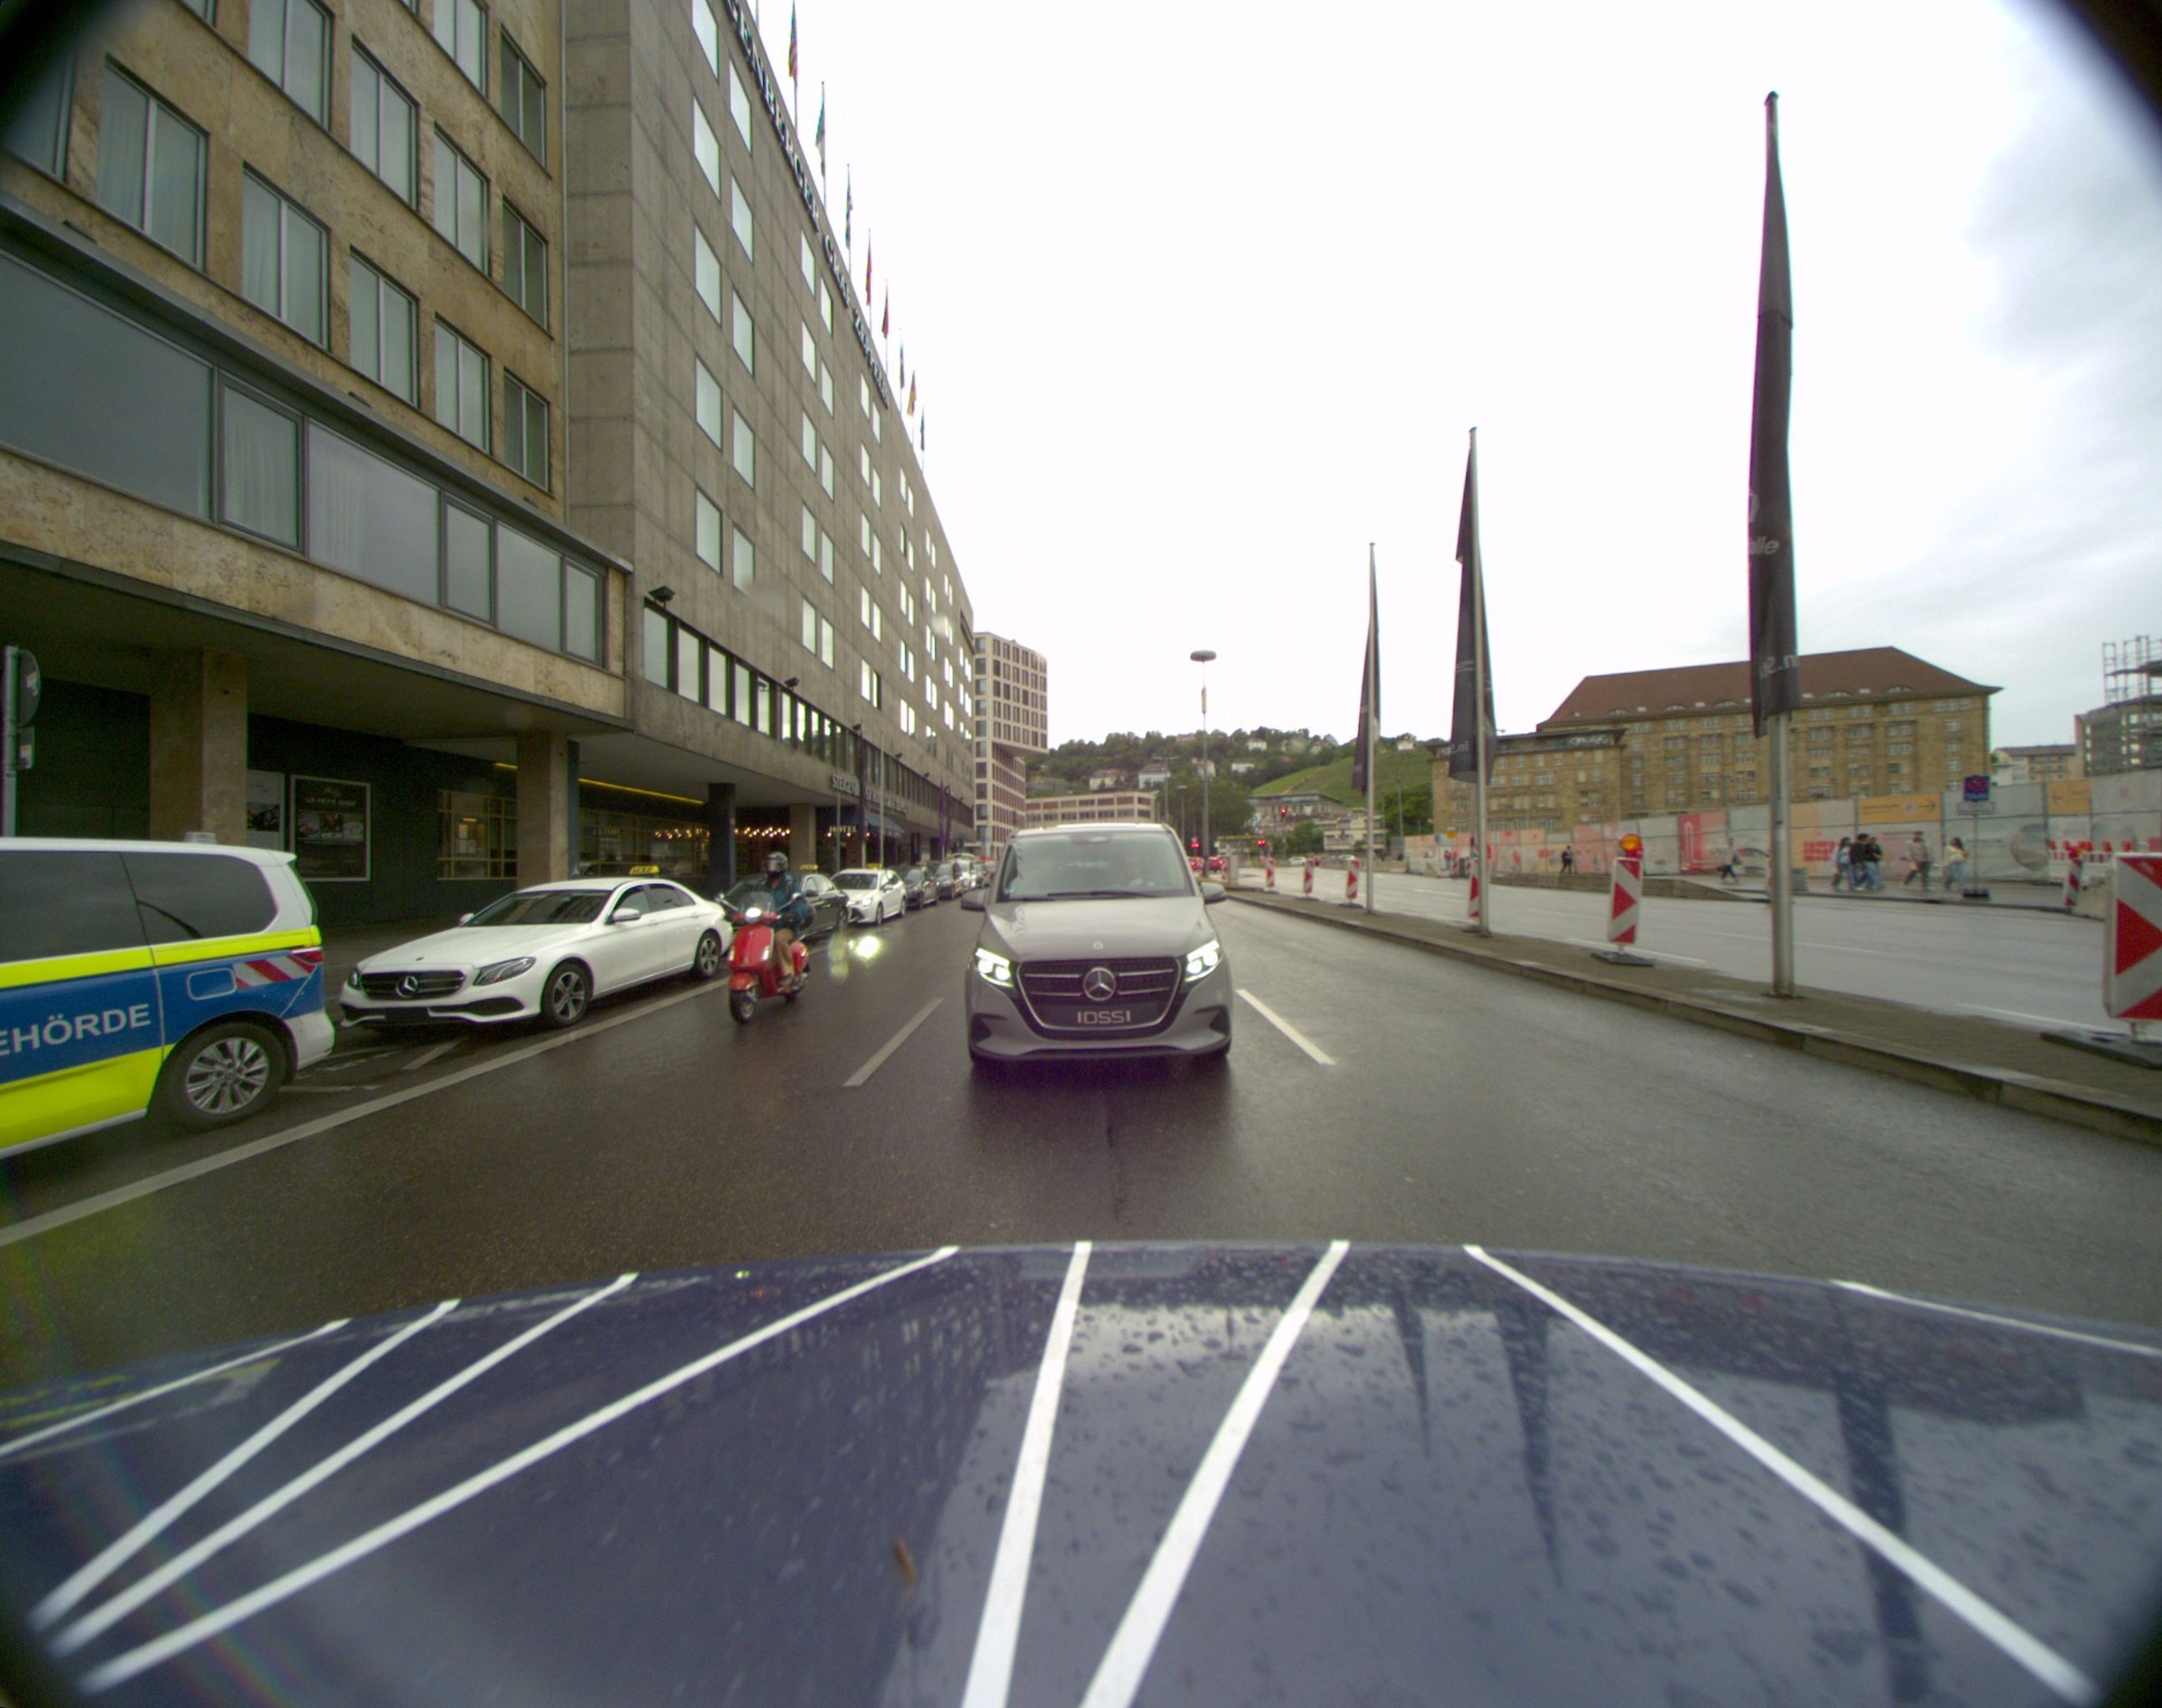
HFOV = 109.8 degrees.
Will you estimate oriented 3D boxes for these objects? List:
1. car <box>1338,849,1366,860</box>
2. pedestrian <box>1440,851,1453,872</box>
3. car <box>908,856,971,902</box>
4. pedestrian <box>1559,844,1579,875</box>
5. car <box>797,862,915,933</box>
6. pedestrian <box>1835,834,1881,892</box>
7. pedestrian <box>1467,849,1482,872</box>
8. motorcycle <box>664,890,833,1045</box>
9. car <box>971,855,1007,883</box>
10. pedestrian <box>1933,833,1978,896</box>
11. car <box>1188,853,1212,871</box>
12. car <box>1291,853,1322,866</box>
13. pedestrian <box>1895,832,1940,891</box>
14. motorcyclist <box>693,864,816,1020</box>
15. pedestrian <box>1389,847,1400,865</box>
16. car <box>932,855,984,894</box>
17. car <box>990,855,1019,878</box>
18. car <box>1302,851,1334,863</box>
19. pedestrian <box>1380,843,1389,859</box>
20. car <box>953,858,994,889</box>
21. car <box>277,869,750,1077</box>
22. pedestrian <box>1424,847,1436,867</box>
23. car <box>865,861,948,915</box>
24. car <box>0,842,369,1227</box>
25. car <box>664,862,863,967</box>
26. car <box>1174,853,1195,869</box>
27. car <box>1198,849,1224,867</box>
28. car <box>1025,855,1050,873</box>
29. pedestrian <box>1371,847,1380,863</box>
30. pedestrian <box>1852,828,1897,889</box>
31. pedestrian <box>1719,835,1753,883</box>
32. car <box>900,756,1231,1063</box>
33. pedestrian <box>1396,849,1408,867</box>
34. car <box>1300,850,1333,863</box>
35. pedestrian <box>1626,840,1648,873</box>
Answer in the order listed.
[{"bbox_3d":[43.135,0.028,121.209,3.993,1.622,2.002,-1,0,14],"label":"car"},{"bbox_3d":[27.751,0.556,57.659,0.715,1.606,0.544,-2,1,1],"label":"pedestrian"},{"bbox_3d":[-6.055,0.997,33.005,1.731,1.732,4.814,-2,1,0],"label":"car"},{"bbox_3d":[25.993,0.279,40.476,0.715,1.606,0.544,-2,1,1],"label":"pedestrian"},{"bbox_3d":[-6.044,1.090,21.019,1.731,1.583,4.814,-2,1,0],"label":"car"},{"bbox_3d":[23.780,0.276,23.270,0.714,1.723,0.718,-2,1,19],"label":"pedestrian"},{"bbox_3d":[28.163,0.428,54.352,0.715,1.606,0.544,-2,1,1],"label":"pedestrian"},{"bbox_3d":[-3.416,1.106,8.051,0.848,1.299,1.965,-2,1,1],"label":"motorcycle"},{"bbox_3d":[-5.876,0.914,48.888,1.731,1.604,4.001,-2,1,0],"label":"car"},{"bbox_3d":[25.687,0.309,22.334,0.661,1.825,0.556,-2,1,21],"label":"pedestrian"},{"bbox_3d":[12.278,0.783,78.616,1.785,1.684,3.916,-2,1,-1],"label":"car"},{"bbox_3d":[34.803,0.823,117.401,4.194,1.846,1.832,-2,1,6],"label":"car"},{"bbox_3d":[25.077,0.228,22.787,0.714,1.734,0.564,-2,1,21],"label":"pedestrian"},{"bbox_3d":[-3.430,0.896,8.070,0.861,1.519,0.844,-2,1,1],"label":"motorcyclist"},{"bbox_3d":[29.876,0.191,72.376,0.715,1.606,0.544,-2,1,1],"label":"pedestrian"},{"bbox_3d":[-6.093,0.957,38.202,1.731,1.732,4.814,-2,1,0],"label":"car"},{"bbox_3d":[-5.909,0.965,59.209,1.731,1.604,4.001,-2,1,0],"label":"car"},{"bbox_3d":[32.619,0.438,104.679,3.993,1.622,2.002,-1,0,14],"label":"car"},{"bbox_3d":[31.045,-0.327,77.746,0.715,1.606,0.544,-2,1,5],"label":"pedestrian"},{"bbox_3d":[-6.129,1.065,43.710,1.731,1.604,4.001,-2,1,0],"label":"car"},{"bbox_3d":[-6.093,1.099,9.208,1.879,1.628,5.010,-2,1,0],"label":"car"},{"bbox_3d":[27.893,0.222,60.747,0.715,1.606,0.544,-2,1,1],"label":"pedestrian"},{"bbox_3d":[-6.047,1.121,26.834,1.731,1.583,4.814,-2,1,0],"label":"car"},{"bbox_3d":[-6.324,0.934,3.205,1.879,1.909,4.935,-2,1,0],"label":"car"},{"bbox_3d":[-6.077,1.049,15.292,1.879,1.628,4.814,-2,1,0],"label":"car"},{"bbox_3d":[11.812,0.735,86.948,1.785,1.684,3.916,-2,1,-1],"label":"car"},{"bbox_3d":[12.366,0.393,72.213,1.785,1.684,3.916,-1,0,0],"label":"car"},{"bbox_3d":[-4.272,0.968,75.244,2.089,1.540,4.587,-2,1,0],"label":"car"},{"bbox_3d":[30.186,0.070,77.852,0.715,1.606,0.544,-2,1,5],"label":"pedestrian"},{"bbox_3d":[24.660,0.133,23.626,0.714,1.825,0.718,-2,1,19],"label":"pedestrian"},{"bbox_3d":[25.428,0.198,29.524,0.664,1.825,0.720,-2,1,1],"label":"pedestrian"},{"bbox_3d":[-0.056,0.329,7.335,1.998,1.849,5.160,-2,1,1],"label":"car"},{"bbox_3d":[28.483,0.362,67.435,0.715,1.606,0.544,-2,1,1],"label":"pedestrian"},{"bbox_3d":[31.214,0.342,100.881,3.993,1.622,2.002,-1,0,14],"label":"car"},{"bbox_3d":[28.200,0.113,38.535,0.715,1.606,0.544,-2,1,1],"label":"pedestrian"}]
